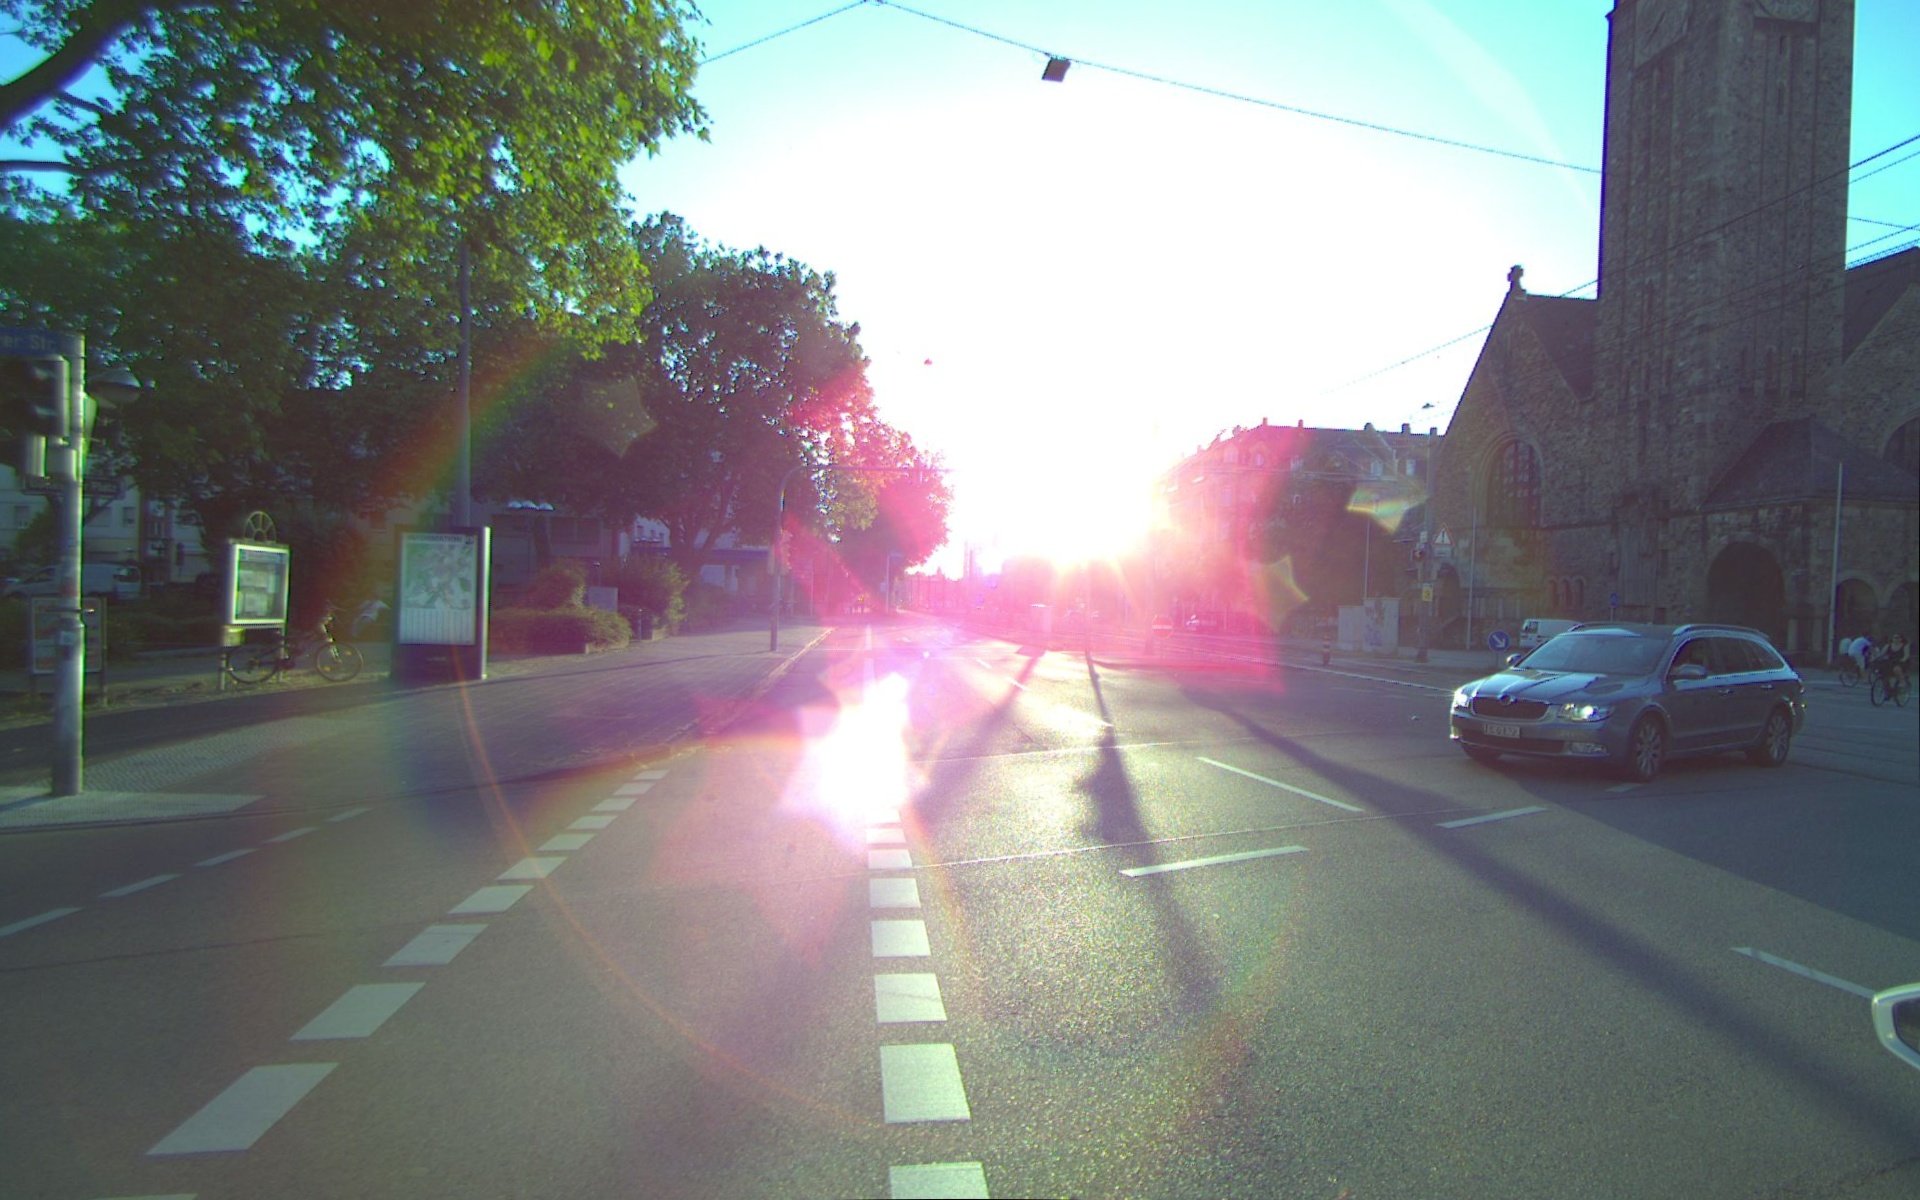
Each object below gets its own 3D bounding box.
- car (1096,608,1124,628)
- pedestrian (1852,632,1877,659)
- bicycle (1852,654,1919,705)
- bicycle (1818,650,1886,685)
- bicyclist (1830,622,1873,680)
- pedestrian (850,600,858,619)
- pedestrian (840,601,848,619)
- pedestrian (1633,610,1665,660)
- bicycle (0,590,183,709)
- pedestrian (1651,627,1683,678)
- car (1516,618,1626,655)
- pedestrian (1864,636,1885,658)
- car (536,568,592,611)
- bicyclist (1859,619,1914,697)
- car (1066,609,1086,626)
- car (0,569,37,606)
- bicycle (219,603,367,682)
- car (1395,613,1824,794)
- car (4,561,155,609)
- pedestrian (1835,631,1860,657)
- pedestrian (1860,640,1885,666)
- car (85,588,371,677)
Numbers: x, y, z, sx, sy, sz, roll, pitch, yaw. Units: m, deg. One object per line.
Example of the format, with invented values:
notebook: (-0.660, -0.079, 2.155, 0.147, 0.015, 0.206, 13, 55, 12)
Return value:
car: (17.131, 2.007, 115.085, 1.964, 2.040, 3.993, 3, 1, -9)
pedestrian: (35.115, 1.759, 38.998, 0.471, 0.973, 0.522, 3, 1, -9)
bicycle: (20.877, 1.787, 22.620, 1.923, 1.057, 0.596, 2, 1, -31)
bicycle: (29.304, 2.212, 32.999, 2.210, 1.092, 0.656, 1, 1, -19)
bicyclist: (29.262, 1.664, 32.968, 0.846, 1.852, 0.656, 2, 1, -19)
pedestrian: (-11.992, 1.057, 113.925, 0.837, 2.040, 0.712, 3, 1, -9)
pedestrian: (-13.127, 1.151, 113.719, 0.837, 2.040, 0.712, 3, 1, -9)
pedestrian: (24.540, 1.240, 35.771, 0.592, 1.721, 0.634, 2, 1, -12)
bicycle: (-10.564, 0.593, 11.956, 1.967, 1.344, 0.524, 3, 1, -25)
pedestrian: (24.697, 1.830, 35.098, 0.593, 1.721, 0.633, 2, 1, -18)
car: (29.713, 1.767, 48.917, 4.371, 1.537, 1.718, 3, 1, -5)
pedestrian: (42.482, 2.163, 46.647, 0.703, 0.973, 0.548, 2, 1, -36)
car: (-23.410, -0.639, 59.515, 1.963, 2.375, 3.995, 3, 1, -6)
bicyclist: (20.791, 1.296, 22.532, 0.952, 1.666, 0.596, 2, 1, -31)
car: (15.121, 2.292, 130.858, 1.961, 2.040, 3.998, 3, 1, -2)
car: (-49.161, -0.626, 49.786, 4.571, 1.758, 1.991, 0, -1, -21)
bicycle: (-9.897, 0.636, 14.973, 1.779, 1.107, 0.455, 2, 1, -32)
car: (7.111, 0.989, 10.889, 4.712, 1.578, 1.984, 2, -1, -30)
car: (-38.172, -0.620, 43.667, 4.556, 1.964, 1.997, 0, -1, -9)
pedestrian: (35.062, 1.750, 39.681, 0.471, 0.973, 0.522, 3, 1, -9)
pedestrian: (36.050, 2.079, 39.685, 0.513, 0.973, 0.479, 3, 1, 1)
car: (-15.520, 0.674, 21.516, 4.551, 1.805, 1.999, 0, -1, -4)
